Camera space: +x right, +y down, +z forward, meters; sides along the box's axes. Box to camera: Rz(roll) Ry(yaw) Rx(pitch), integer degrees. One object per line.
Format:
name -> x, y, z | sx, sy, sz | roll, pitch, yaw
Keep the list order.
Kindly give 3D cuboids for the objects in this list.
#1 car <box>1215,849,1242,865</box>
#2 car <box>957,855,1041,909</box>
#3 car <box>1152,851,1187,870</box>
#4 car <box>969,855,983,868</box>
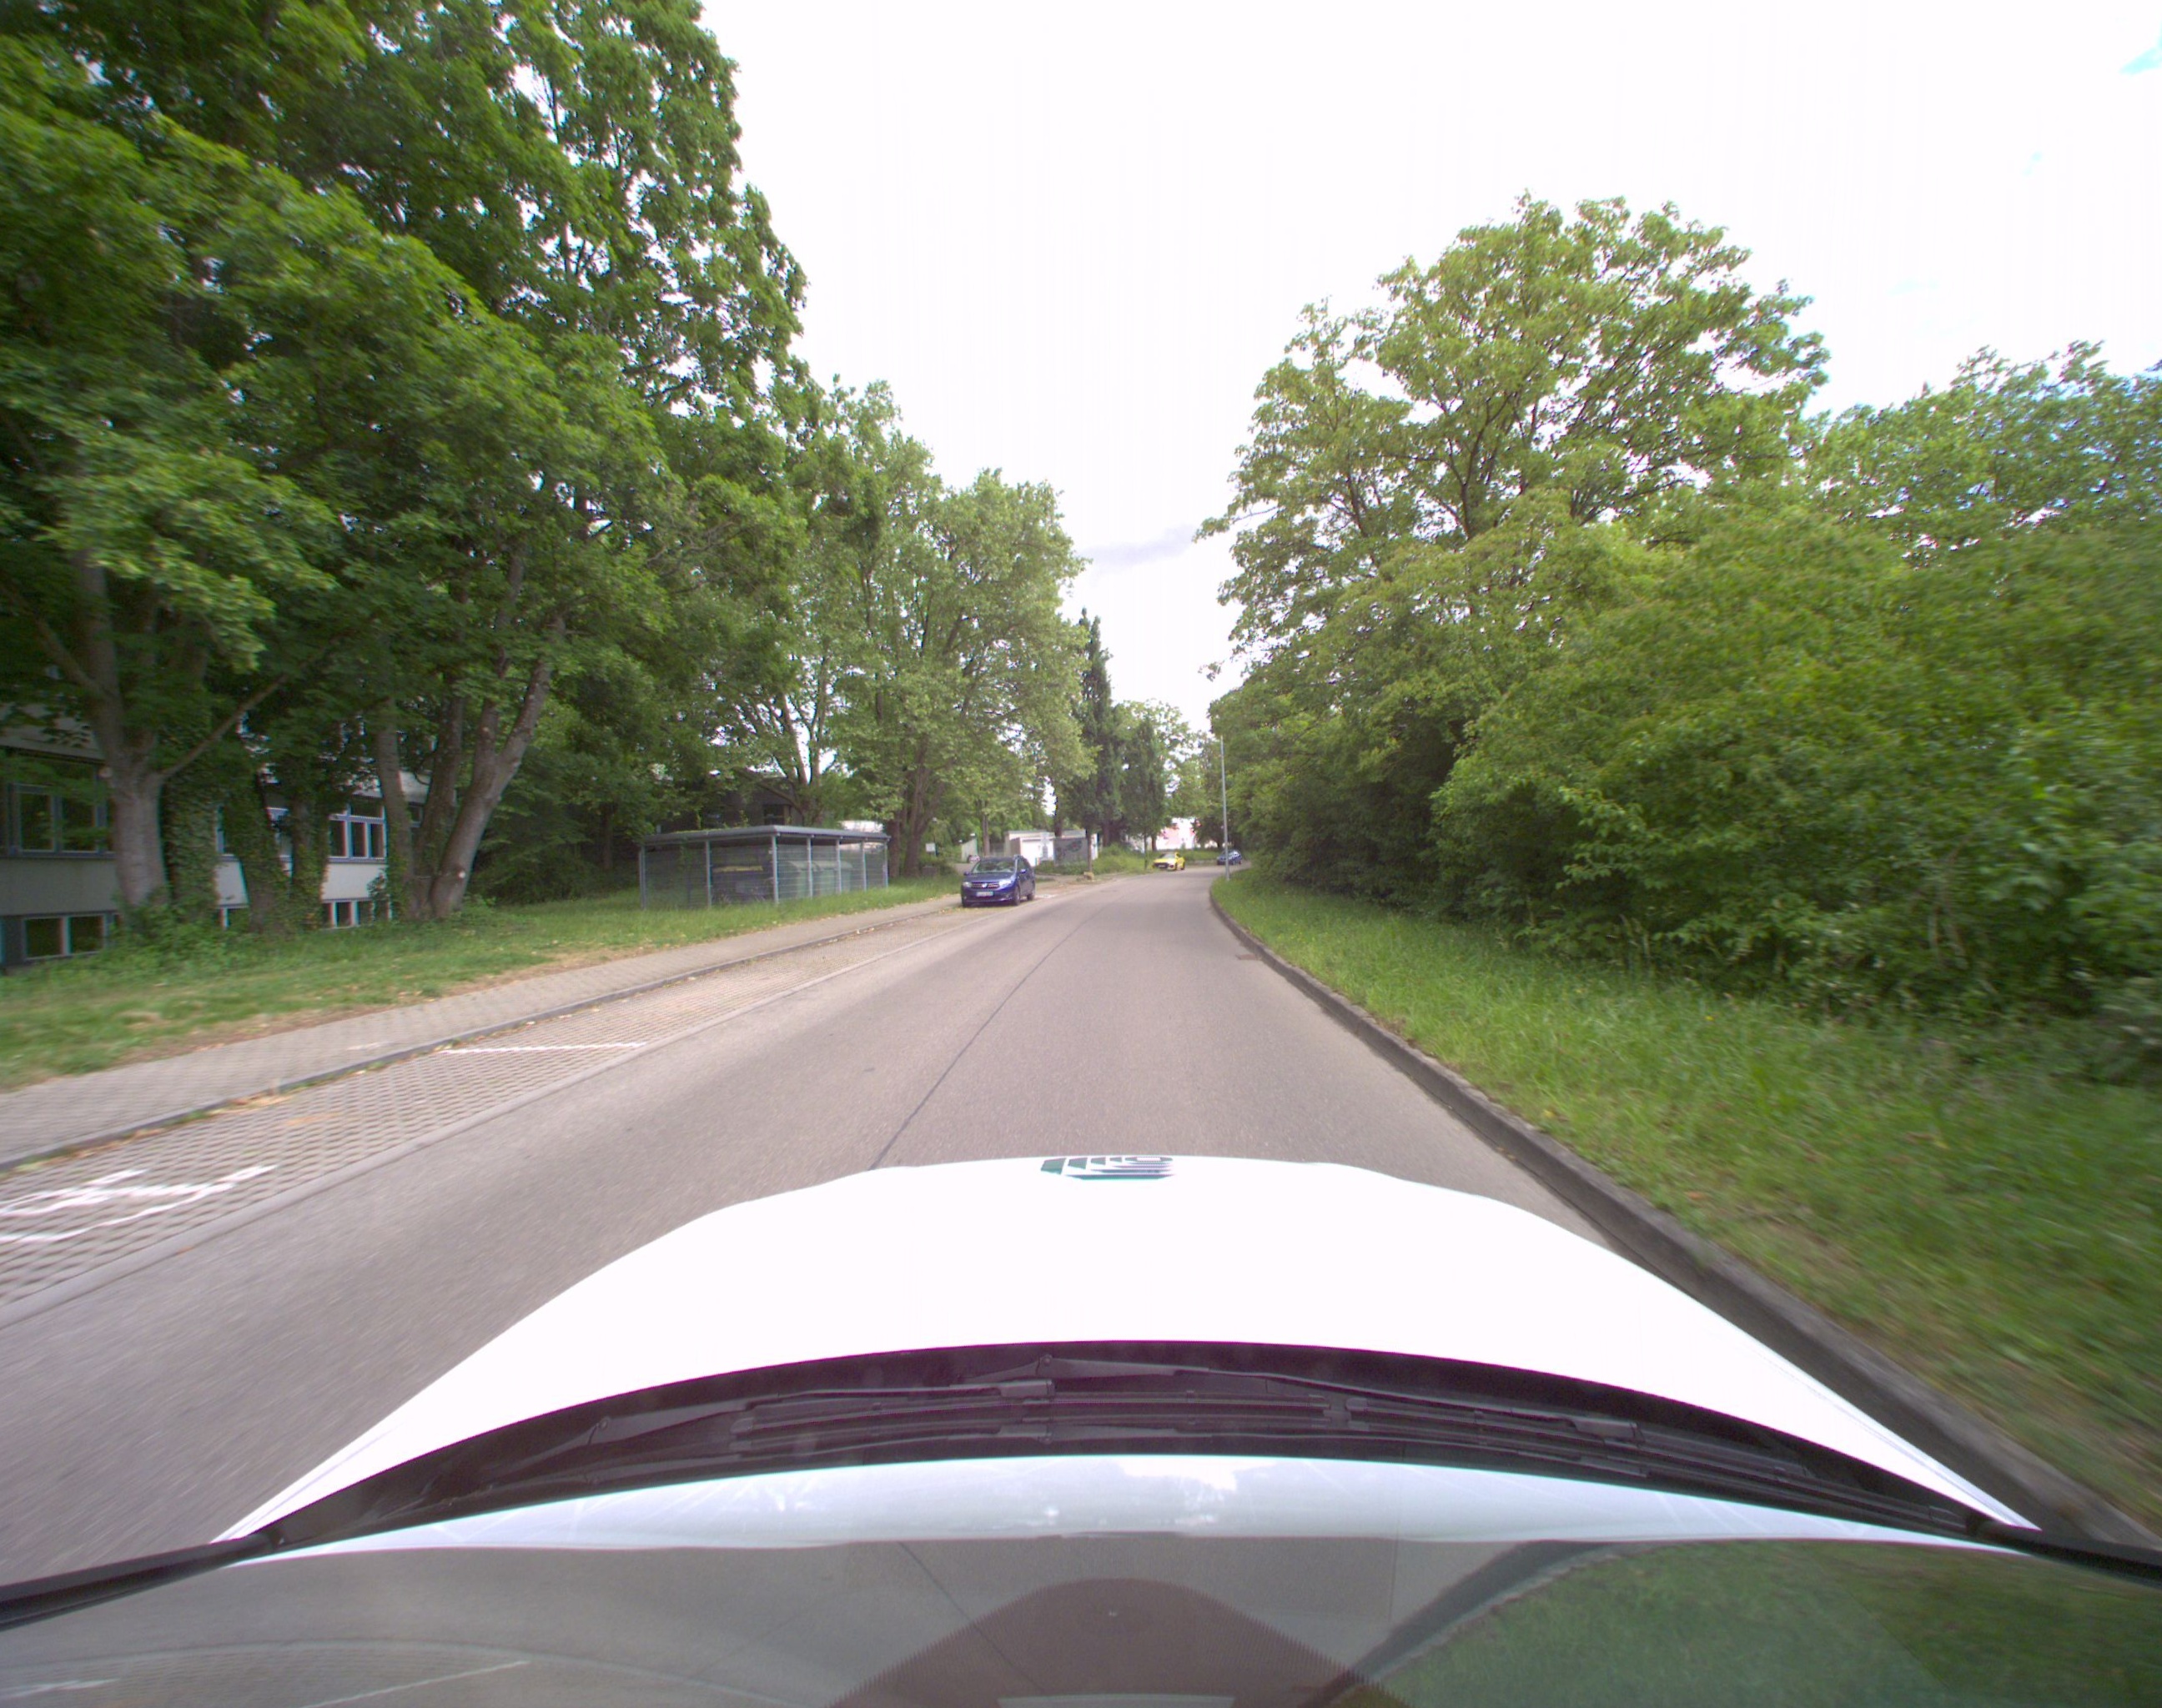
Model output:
car -> 14.490, 0.293, 79.660 | 1.519, 1.459, 3.743 | -2, 0, 27
car -> -2.506, 0.814, 25.984 | 1.671, 1.511, 4.439 | -2, 0, 6
car -> 6.933, 0.476, 63.292 | 1.686, 1.403, 4.294 | -2, 0, 19
car -> -15.883, 1.124, 122.991 | 1.869, 1.746, 3.993 | -3, 0, -5
